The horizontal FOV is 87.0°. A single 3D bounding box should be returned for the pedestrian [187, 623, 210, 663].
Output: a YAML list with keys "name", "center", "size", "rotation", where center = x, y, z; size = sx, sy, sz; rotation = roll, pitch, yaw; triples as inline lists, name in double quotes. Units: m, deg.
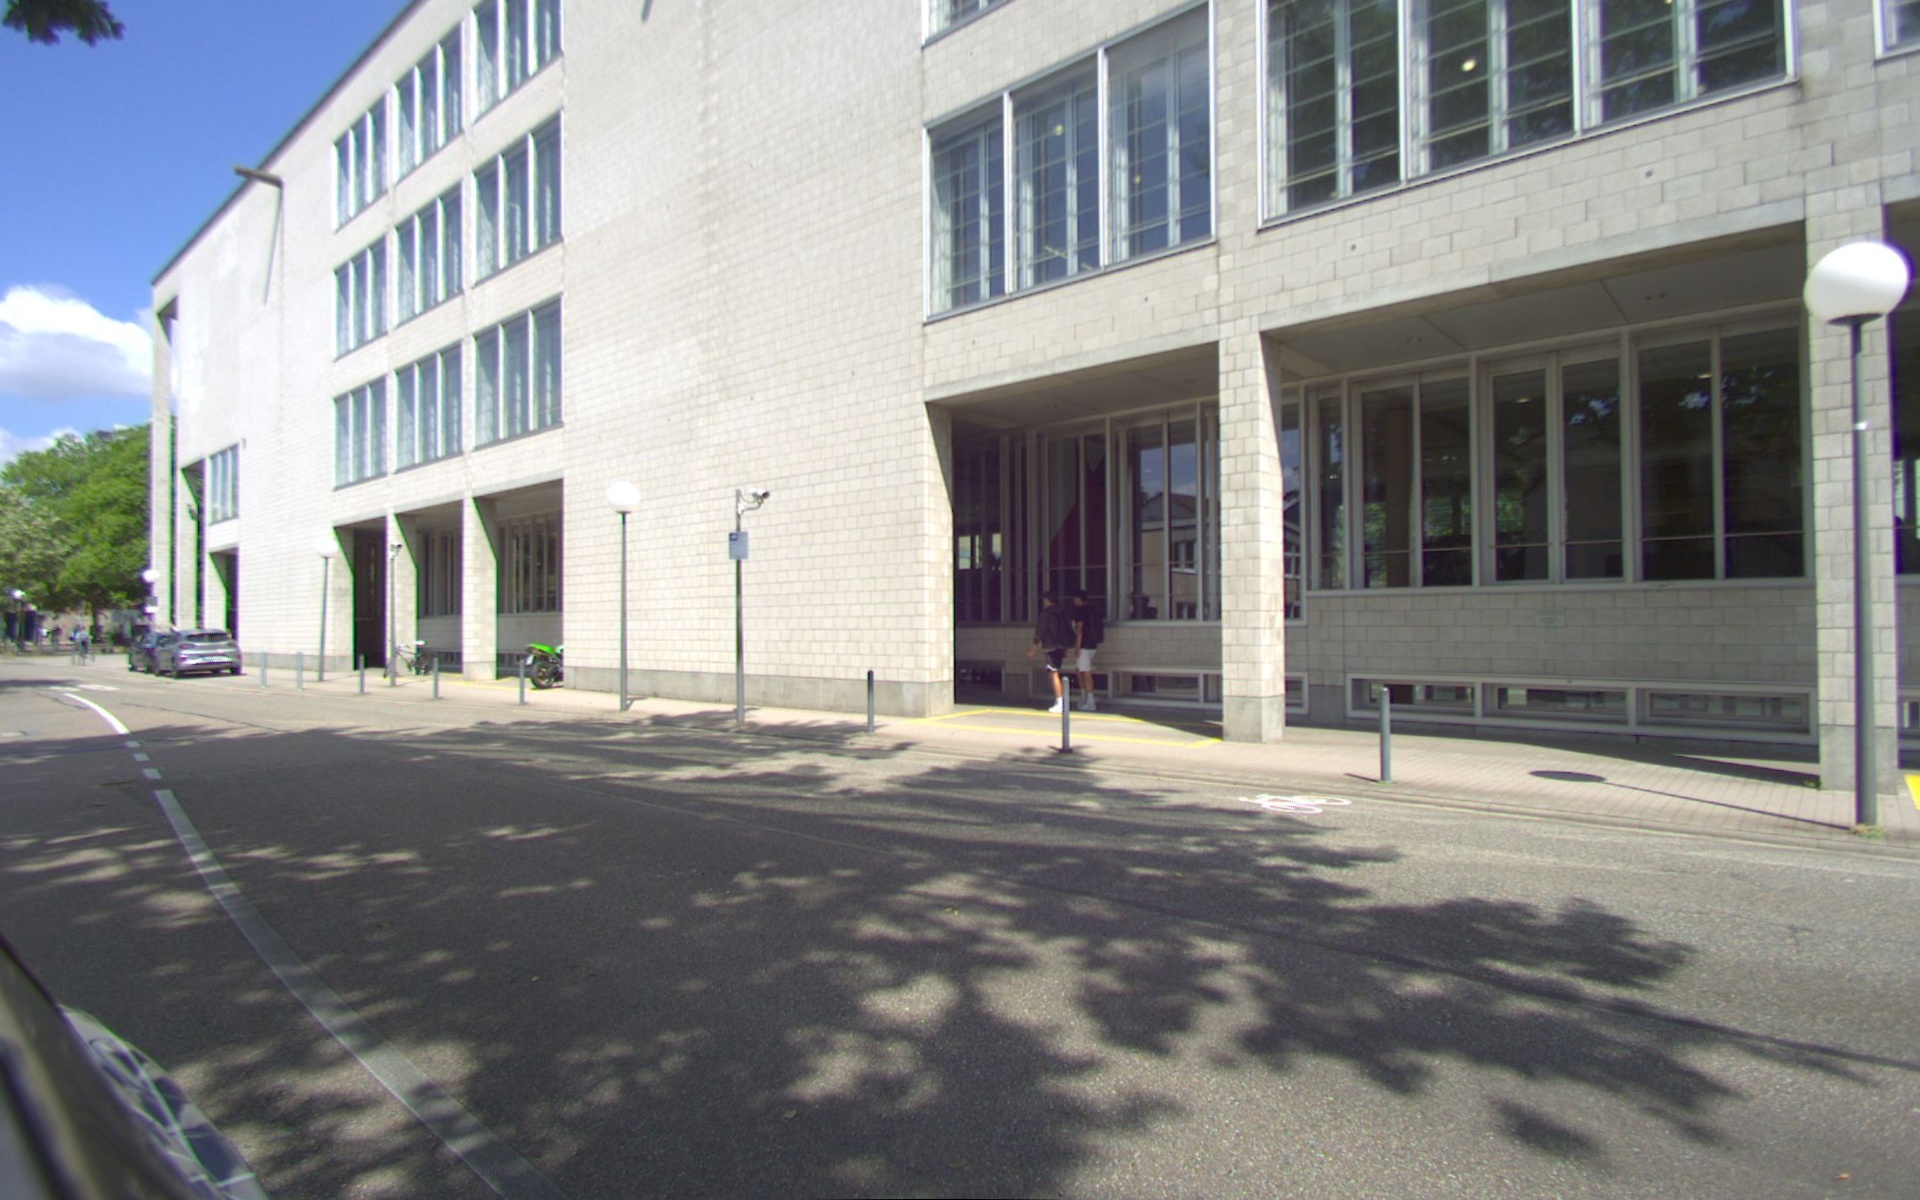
- name: "pedestrian"
  center: [-39.536, 2.220, 52.571]
  size: [1.080, 2.029, 0.745]
  rotation: [-2, -2, 41]

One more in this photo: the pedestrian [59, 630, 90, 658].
- name: "pedestrian"
  center: [-59.552, 2.928, 68.079]
  size: [1.369, 1.838, 1.382]
  rotation: [-2, -1, 41]

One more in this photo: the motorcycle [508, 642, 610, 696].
- name: "motorcycle"
  center: [-9.183, 1.563, 23.261]
  size: [0.772, 1.146, 2.149]
  rotation: [-2, -2, 31]

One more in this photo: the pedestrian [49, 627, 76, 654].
- name: "pedestrian"
  center: [-69.331, 3.135, 78.195]
  size: [1.369, 2.029, 1.382]
  rotation: [-2, -1, 41]

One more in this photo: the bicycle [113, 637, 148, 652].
- name: "bicycle"
  center: [-62.641, 3.341, 76.468]
  size: [0.676, 1.066, 2.116]
  rotation: [-1, -1, 11]

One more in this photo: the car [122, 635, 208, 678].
- name: "car"
  center: [-28.963, 2.026, 36.822]
  size: [4.663, 1.434, 1.708]
  rotation: [-2, -2, 42]

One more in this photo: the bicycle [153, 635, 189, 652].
- name: "bicycle"
  center: [-58.750, 3.222, 75.381]
  size: [0.745, 1.166, 2.116]
  rotation: [-1, -1, 12]

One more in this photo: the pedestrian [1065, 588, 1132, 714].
- name: "pedestrian"
  center: [2.159, 0.780, 15.803]
  size: [0.719, 1.895, 0.723]
  rotation: [-2, -1, 42]

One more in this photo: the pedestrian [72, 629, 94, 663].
- name: "pedestrian"
  center: [-47.411, 2.476, 54.716]
  size: [0.749, 1.738, 1.237]
  rotation: [-3, 1, -38]

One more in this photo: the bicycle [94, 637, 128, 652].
- name: "bicycle"
  center: [-64.621, 3.375, 77.042]
  size: [0.616, 1.066, 2.116]
  rotation: [-1, -1, 11]

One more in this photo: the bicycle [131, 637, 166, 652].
- name: "bicycle"
  center: [-60.989, 3.315, 76.110]
  size: [0.676, 1.066, 2.116]
  rotation: [-1, -1, 11]

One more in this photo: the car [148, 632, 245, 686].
- name: "car"
  center: [-25.064, 1.866, 33.182]
  size: [4.404, 1.546, 1.708]
  rotation: [-1, 0, 42]

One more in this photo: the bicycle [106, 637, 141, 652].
- name: "bicycle"
  center: [-63.315, 3.352, 76.614]
  size: [0.616, 1.066, 2.116]
  rotation: [-1, -1, 11]

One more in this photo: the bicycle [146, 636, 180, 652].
- name: "bicycle"
  center: [-59.484, 3.262, 75.544]
  size: [0.676, 1.115, 2.116]
  rotation: [-1, -1, 11]

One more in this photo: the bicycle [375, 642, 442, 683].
- name: "bicycle"
  center: [-16.002, 1.801, 29.398]
  size: [0.607, 1.095, 1.624]
  rotation: [-2, -1, 36]

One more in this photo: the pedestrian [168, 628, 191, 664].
- name: "pedestrian"
  center: [-40.054, 2.349, 51.957]
  size: [1.080, 1.794, 0.745]
  rotation: [-2, -2, 41]

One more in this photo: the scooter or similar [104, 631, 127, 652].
- name: "scooter or similar"
  center: [-51.156, 2.499, 61.303]
  size: [0.702, 1.200, 1.620]
  rotation: [0, -1, -27]

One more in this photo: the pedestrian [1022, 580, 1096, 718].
- name: "pedestrian"
  center: [1.504, 0.726, 15.397]
  size: [0.829, 2.029, 0.691]
  rotation: [-2, -1, 42]
